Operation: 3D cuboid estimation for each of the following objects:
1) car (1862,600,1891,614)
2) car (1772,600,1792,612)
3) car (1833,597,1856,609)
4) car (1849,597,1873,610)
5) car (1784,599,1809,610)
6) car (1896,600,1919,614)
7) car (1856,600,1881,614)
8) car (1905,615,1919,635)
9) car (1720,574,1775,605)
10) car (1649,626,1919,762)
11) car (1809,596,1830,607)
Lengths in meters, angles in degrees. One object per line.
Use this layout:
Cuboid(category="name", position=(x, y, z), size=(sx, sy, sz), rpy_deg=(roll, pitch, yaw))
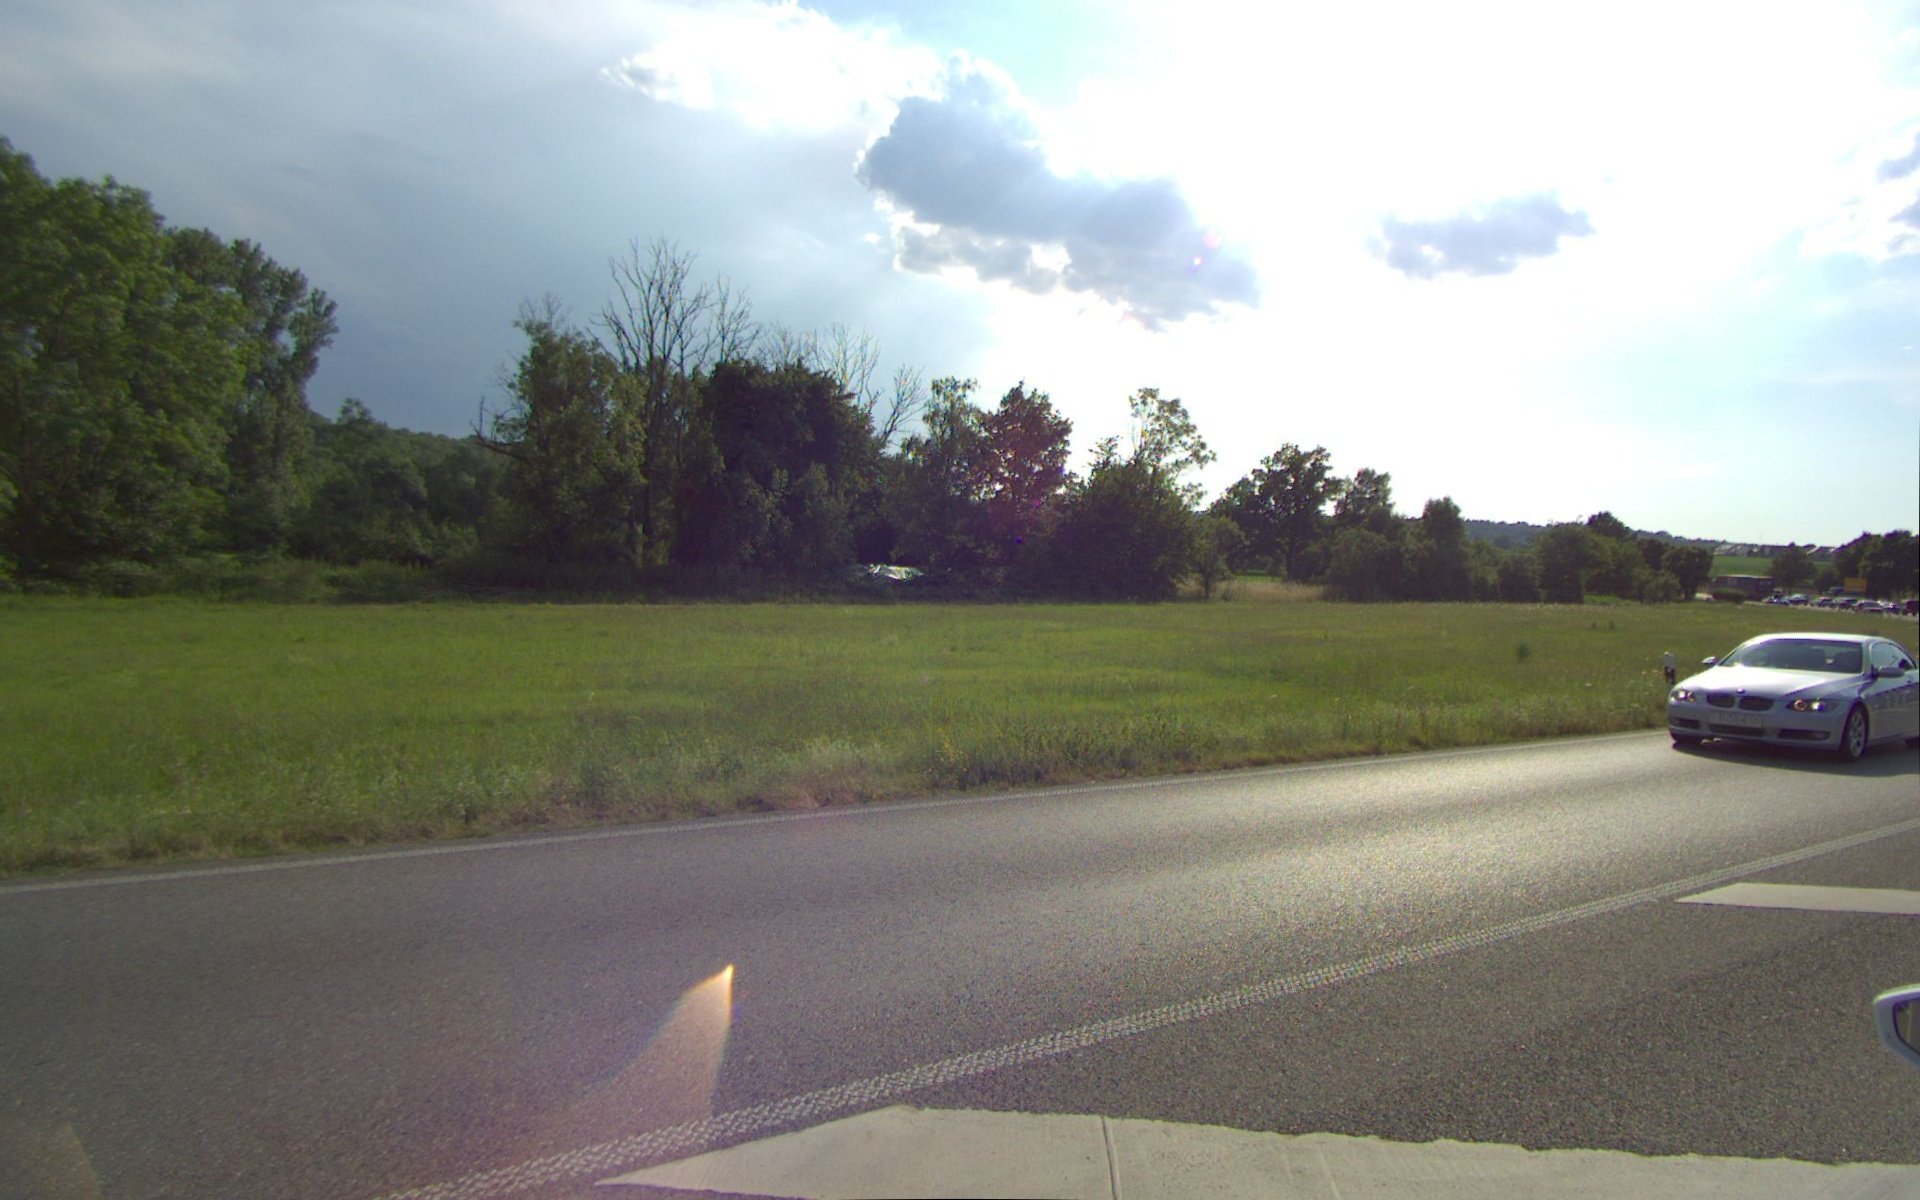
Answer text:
Cuboid(category="car", position=(120.173, 0.913, 131.698), size=(2.055, 1.621, 3.990), rpy_deg=(3, 1, 32))
Cuboid(category="car", position=(122.320, 0.863, 149.495), size=(1.856, 1.621, 3.988), rpy_deg=(3, 2, 34))
Cuboid(category="car", position=(126.378, 0.403, 143.592), size=(1.856, 1.621, 3.988), rpy_deg=(3, 2, 34))
Cuboid(category="car", position=(123.959, 0.476, 138.162), size=(1.856, 1.621, 3.988), rpy_deg=(3, 2, 34))
Cuboid(category="car", position=(131.456, 0.739, 157.851), size=(1.851, 1.621, 3.998), rpy_deg=(3, 1, 23))
Cuboid(category="car", position=(117.325, 0.831, 124.127), size=(1.858, 1.621, 3.984), rpy_deg=(3, 2, 37))
Cuboid(category="car", position=(106.749, 0.812, 118.037), size=(1.859, 1.621, 3.982), rpy_deg=(3, 2, 39))
Cuboid(category="car", position=(80.242, 2.123, 83.418), size=(1.856, 1.621, 3.987), rpy_deg=(3, 2, 34))
Cuboid(category="car", position=(137.233, -1.873, 175.225), size=(3.483, 5.127, 13.239), rpy_deg=(2, 1, 21))
Cuboid(category="car", position=(10.558, 1.066, 12.429), size=(4.699, 1.351, 1.689), rpy_deg=(2, 0, -33))
Cuboid(category="car", position=(129.618, 0.269, 151.513), size=(1.856, 1.621, 3.988), rpy_deg=(3, 2, 34))
